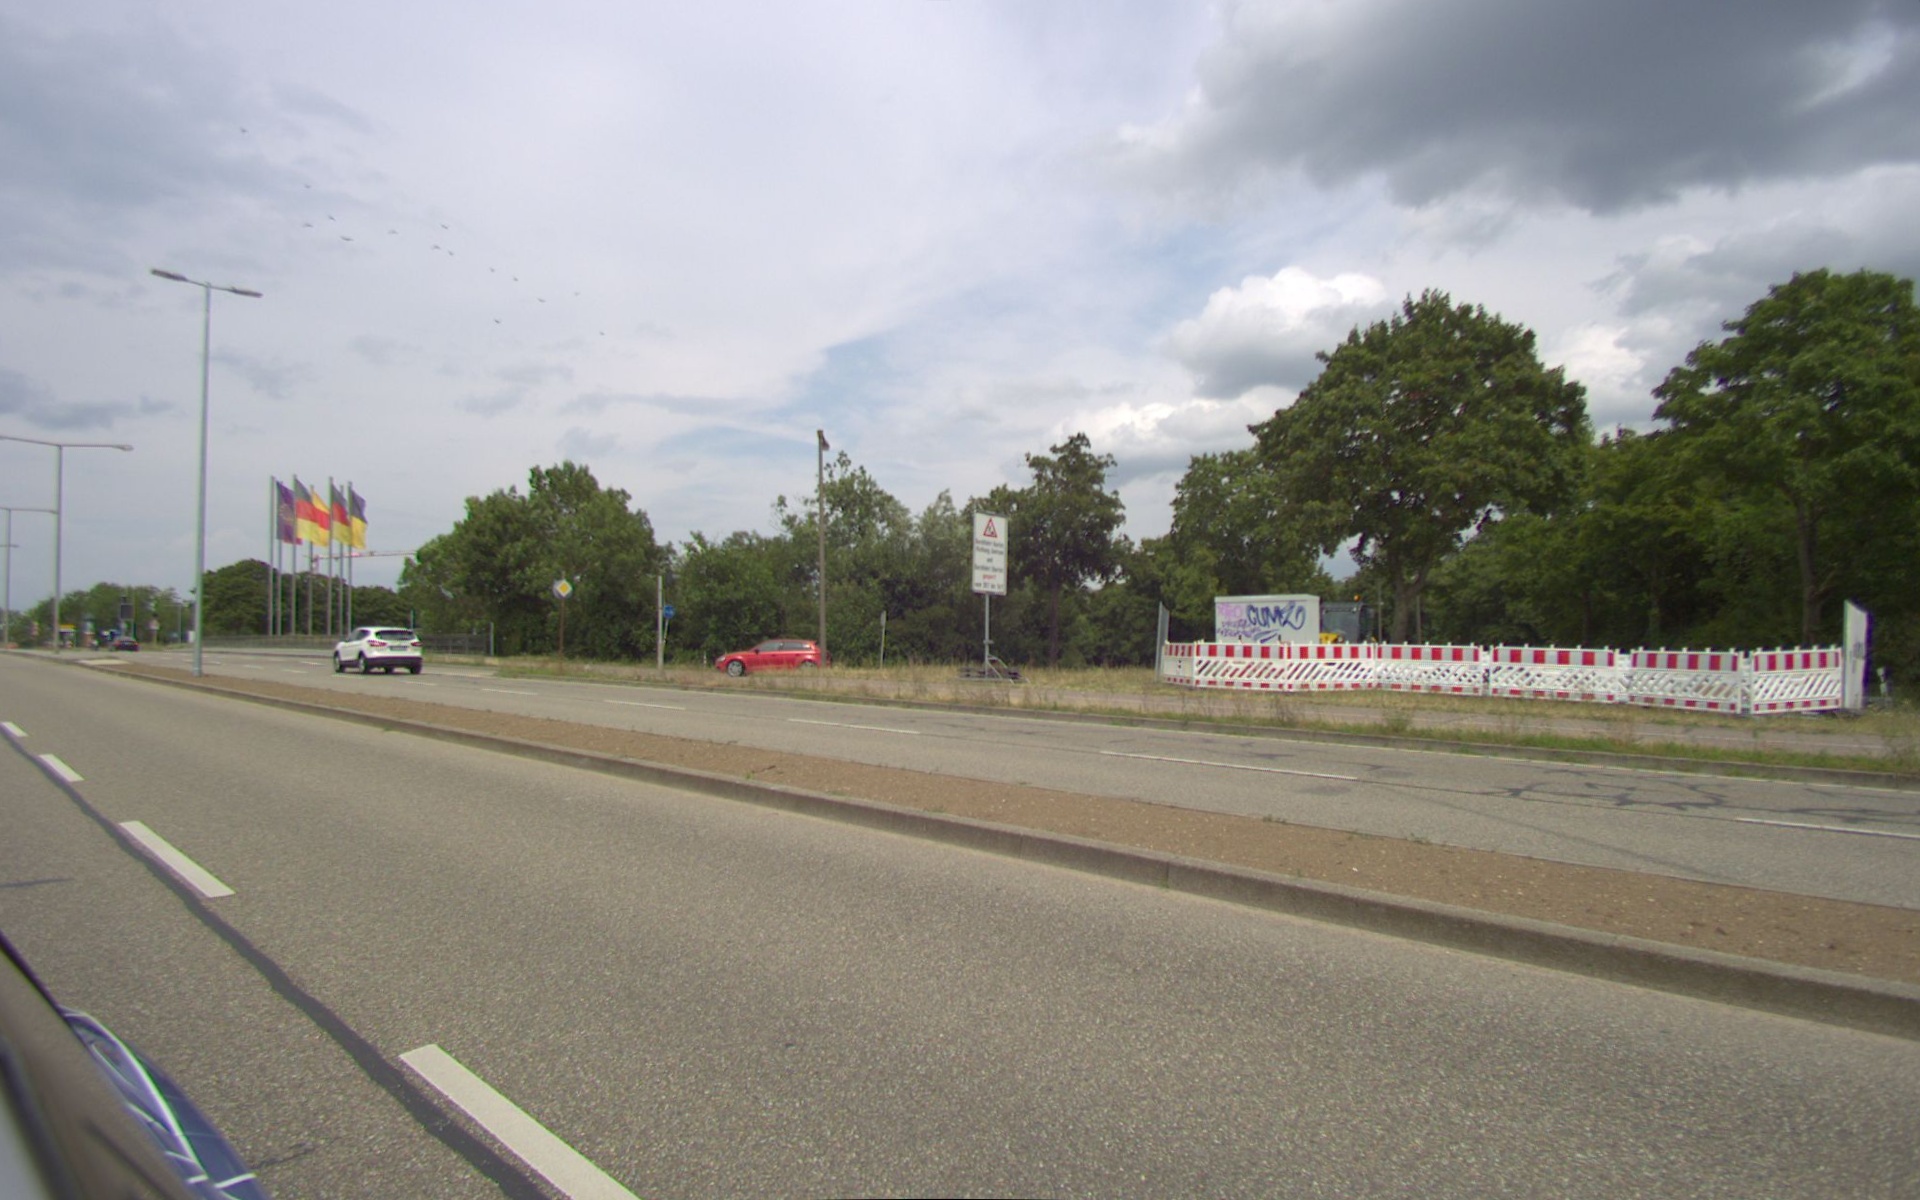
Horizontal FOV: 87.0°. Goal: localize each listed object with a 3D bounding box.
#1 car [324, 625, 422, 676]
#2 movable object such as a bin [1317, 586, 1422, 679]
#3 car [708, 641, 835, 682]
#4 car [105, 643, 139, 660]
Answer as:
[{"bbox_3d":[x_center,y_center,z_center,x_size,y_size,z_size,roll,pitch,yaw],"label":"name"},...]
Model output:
[{"bbox_3d":[-19.974,1.717,34.372,4.383,1.641,1.676,-3,-3,43],"label":"car"},{"bbox_3d":[11.748,0.938,28.838,1.993,2.415,4.543,-3,-3,31],"label":"movable object such as a bin"},{"bbox_3d":[-6.818,2.221,36.842,4.240,1.384,1.780,-1,-2,3],"label":"car"},{"bbox_3d":[-75.047,4.592,90.624,1.970,1.384,4.581,3,-4,-44],"label":"car"}]
